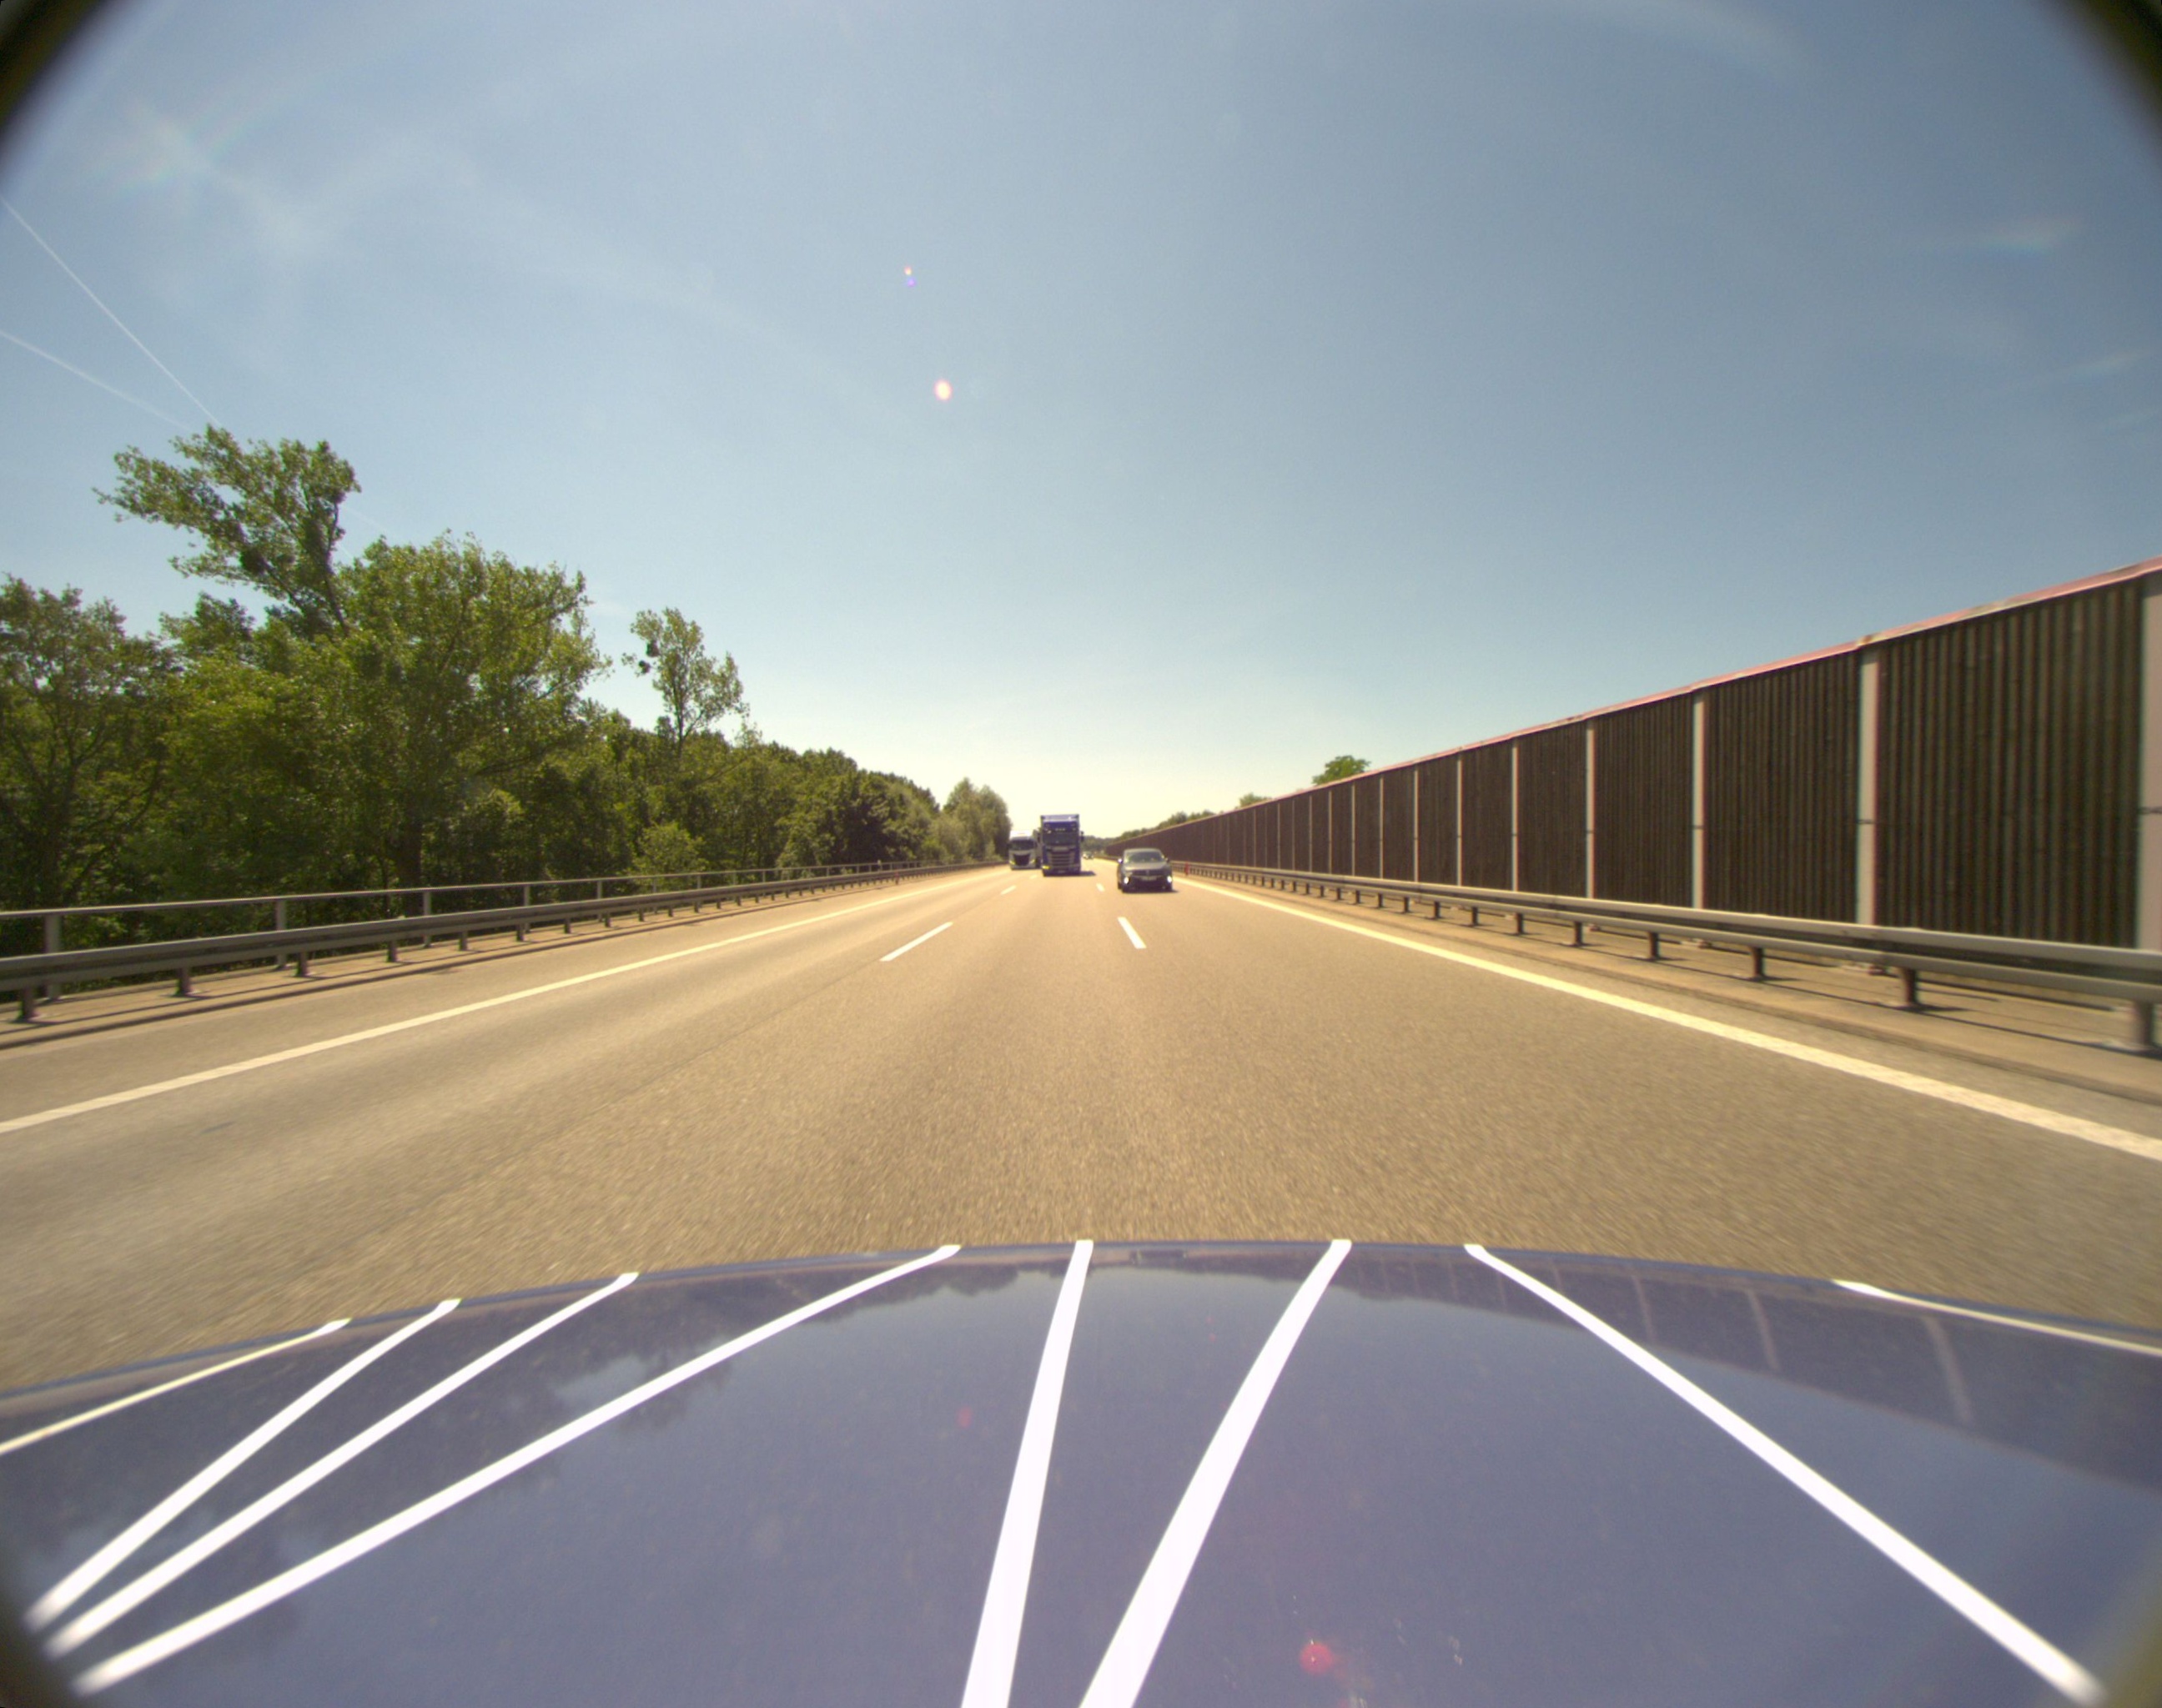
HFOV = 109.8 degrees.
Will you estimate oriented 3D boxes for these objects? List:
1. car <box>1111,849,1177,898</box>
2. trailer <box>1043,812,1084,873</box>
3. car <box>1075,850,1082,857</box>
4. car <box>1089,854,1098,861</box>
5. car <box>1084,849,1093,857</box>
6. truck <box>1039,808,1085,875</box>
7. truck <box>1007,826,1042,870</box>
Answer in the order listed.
[{"bbox_3d":[2.255,0.658,28.403,1.885,1.630,5.008,-1,0,-1],"label":"car"},{"bbox_3d":[-1.226,-0.777,57.602,2.707,4.094,12.130,-2,0,0],"label":"trailer"},{"bbox_3d":[-0.716,-0.150,224.746,1.999,2.002,3.999,-2,0,-2],"label":"car"},{"bbox_3d":[2.864,0.769,176.767,2.045,1.559,4.000,-2,0,0],"label":"car"},{"bbox_3d":[1.692,-0.209,176.416,1.998,1.717,4.000,-2,0,1],"label":"car"},{"bbox_3d":[-1.204,-0.768,50.544,2.707,4.094,6.990,-2,0,-1],"label":"truck"},{"bbox_3d":[-5.742,-0.594,79.426,2.820,4.139,10.447,-2,0,0],"label":"truck"}]
